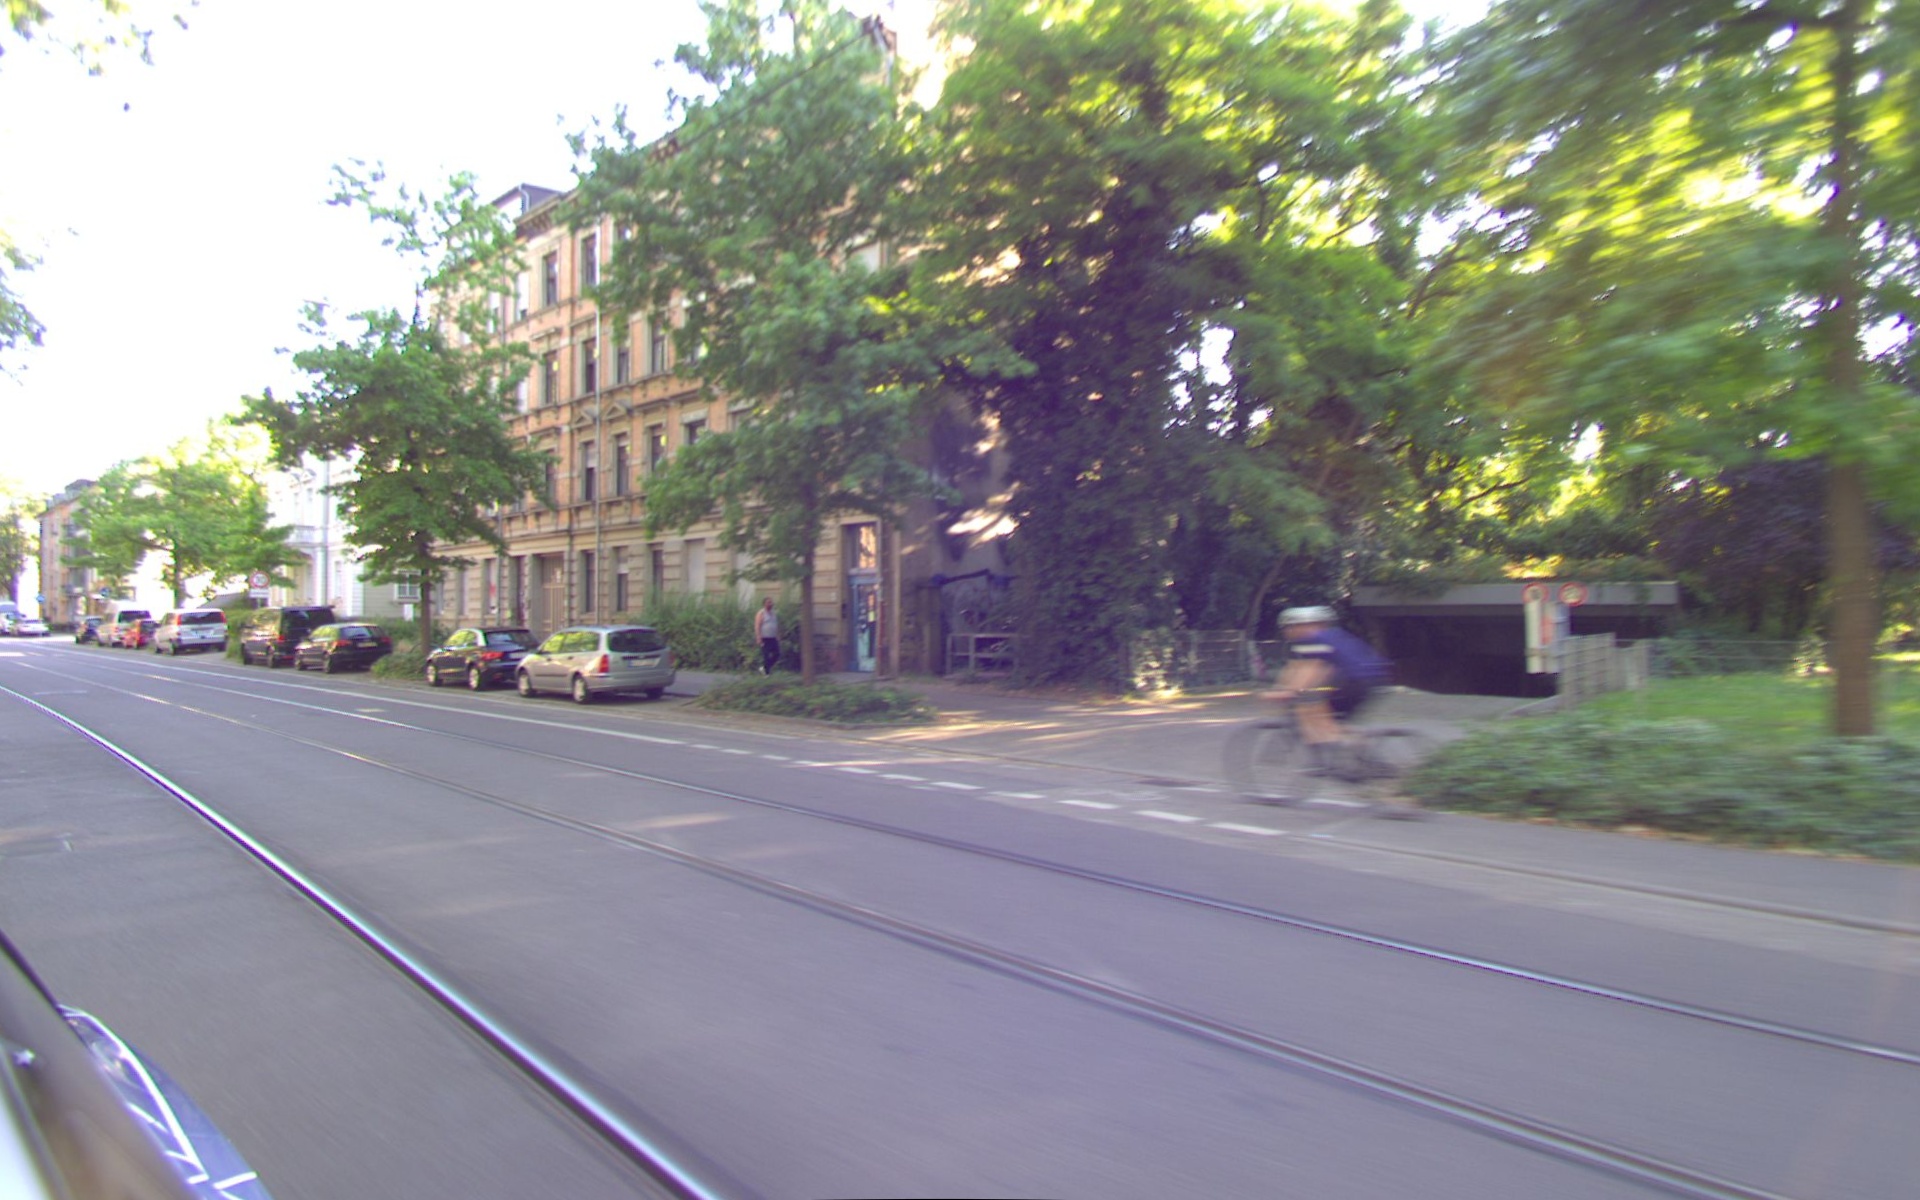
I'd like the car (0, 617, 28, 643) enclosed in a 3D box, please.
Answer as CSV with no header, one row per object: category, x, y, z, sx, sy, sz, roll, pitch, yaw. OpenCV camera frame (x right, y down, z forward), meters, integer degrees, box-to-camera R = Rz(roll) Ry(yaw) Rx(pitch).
car,-79.831,2.502,84.917,4.938,2.062,1.903,-1,-1,41

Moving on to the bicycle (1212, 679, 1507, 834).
bicycle,3.117,1.171,8.066,2.100,0.994,0.634,-1,-2,41

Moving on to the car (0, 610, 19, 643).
car,-84.240,2.348,88.856,4.545,2.767,1.902,-1,2,42

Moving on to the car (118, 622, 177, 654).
car,-40.578,1.888,50.493,3.706,1.551,1.667,-1,-2,41

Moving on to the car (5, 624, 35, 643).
car,-75.387,2.671,81.134,2.882,1.504,1.554,-1,-1,42

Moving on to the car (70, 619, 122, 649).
car,-51.299,2.021,60.044,4.263,1.703,1.970,-1,-2,44

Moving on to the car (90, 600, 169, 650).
car,-44.304,1.317,53.959,5.340,2.527,2.280,-1,-2,40

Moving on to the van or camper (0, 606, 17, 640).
van or camper,-89.100,2.183,93.451,5.990,2.999,2.391,-1,2,43

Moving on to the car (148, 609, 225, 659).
car,-33.433,1.452,43.693,4.988,2.004,1.823,-1,-2,43

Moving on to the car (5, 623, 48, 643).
car,-71.902,2.543,77.938,4.936,1.504,1.753,-1,-1,39

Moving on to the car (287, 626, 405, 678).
car,-18.662,1.522,30.701,4.267,1.469,1.834,-1,-2,41

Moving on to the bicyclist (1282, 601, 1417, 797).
bicyclist,3.110,0.753,8.088,0.836,1.466,0.634,-1,-3,41

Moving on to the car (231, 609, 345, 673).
car,-22.838,1.347,34.328,4.831,2.029,1.973,-1,-2,41

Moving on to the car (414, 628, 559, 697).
car,-11.095,1.391,23.621,3.947,1.456,1.641,-1,-1,41

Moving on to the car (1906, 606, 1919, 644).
car,40.728,1.065,42.140,1.799,1.522,3.945,-1,-2,41

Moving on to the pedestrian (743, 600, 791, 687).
pedestrian,-4.242,0.947,22.262,0.728,1.861,0.734,-2,-1,40

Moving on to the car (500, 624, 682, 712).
car,-7.516,1.279,20.357,4.538,1.562,1.680,-2,-1,45
